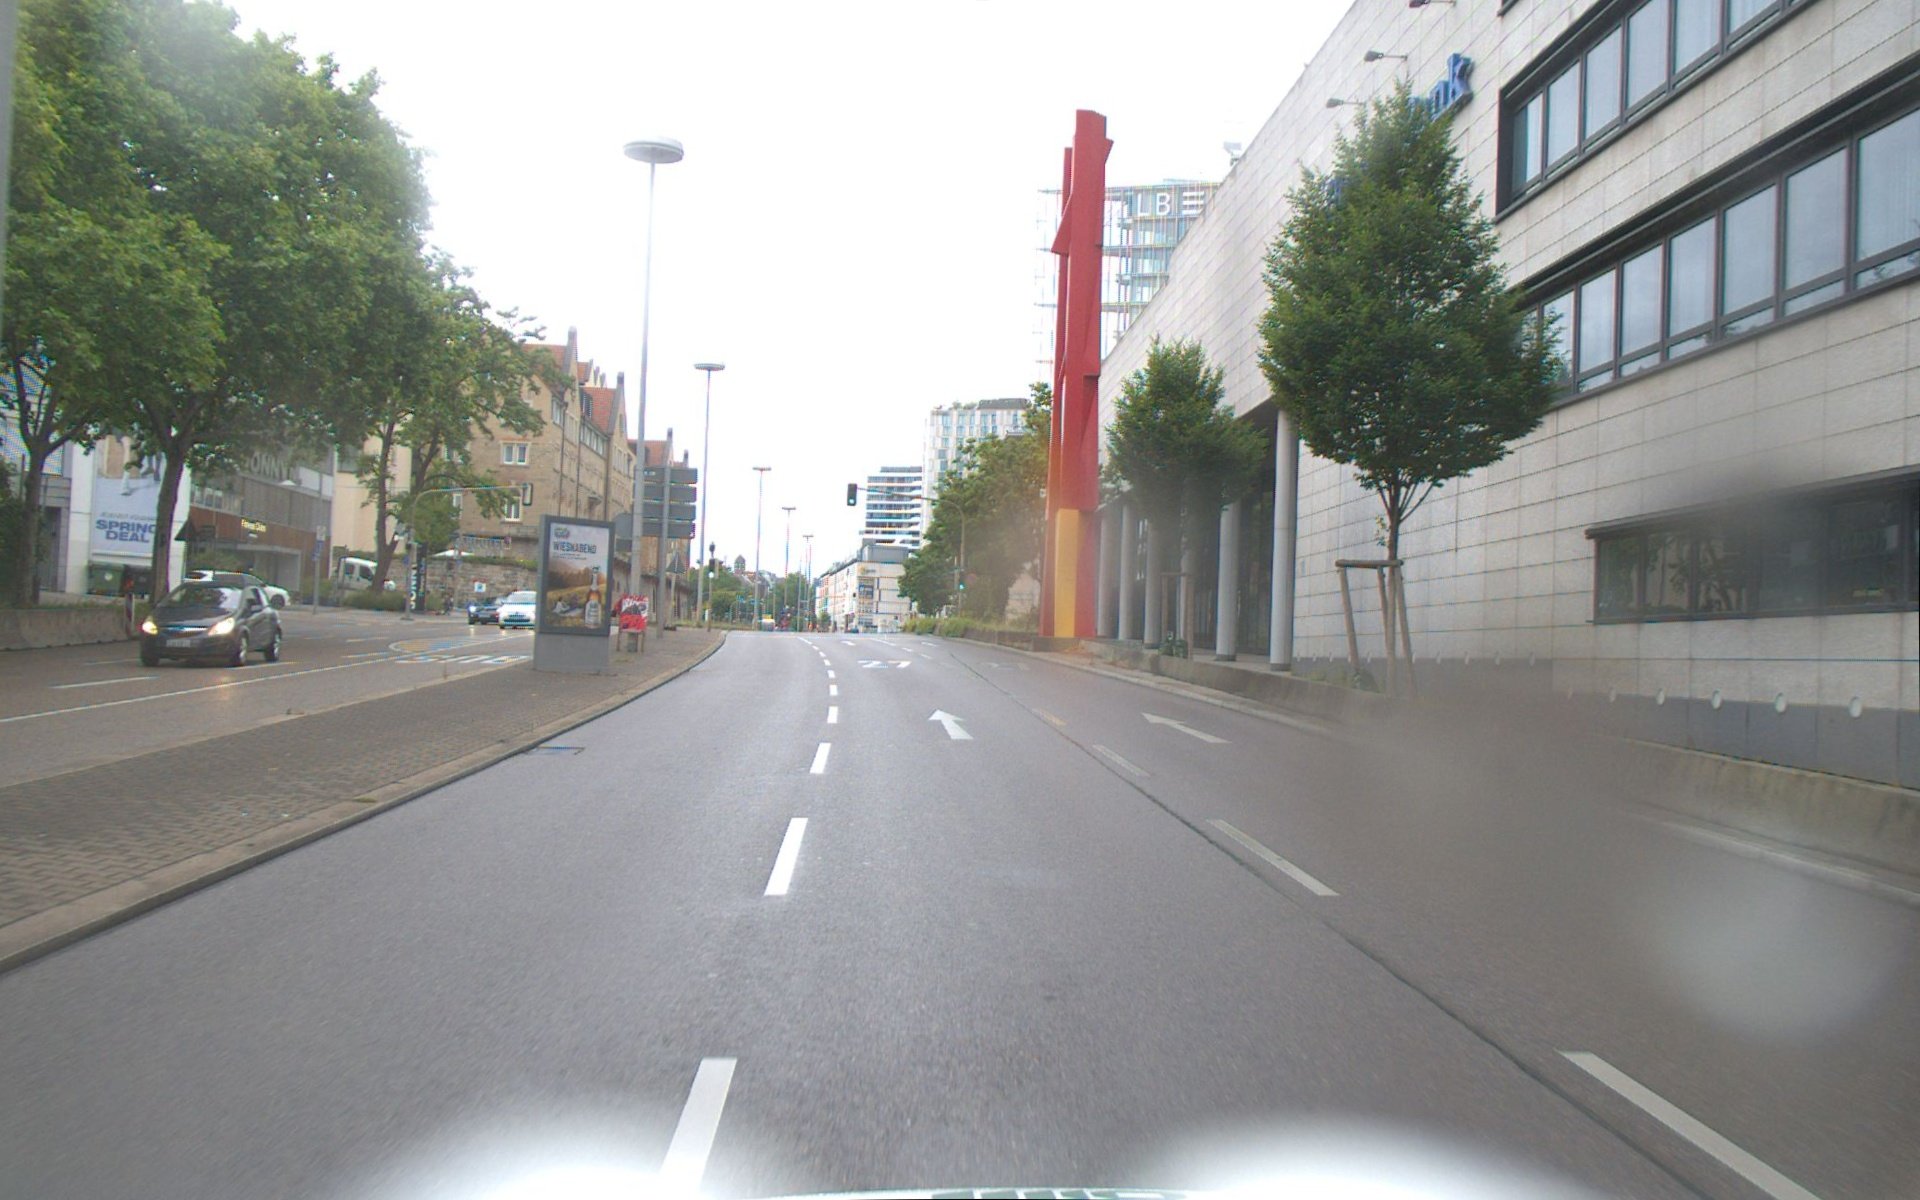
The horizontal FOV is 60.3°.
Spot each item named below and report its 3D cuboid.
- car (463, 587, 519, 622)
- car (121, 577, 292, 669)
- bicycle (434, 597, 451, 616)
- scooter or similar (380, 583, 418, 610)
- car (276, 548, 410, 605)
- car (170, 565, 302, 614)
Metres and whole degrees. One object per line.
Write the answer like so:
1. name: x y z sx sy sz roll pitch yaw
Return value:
1. car: -21.348 0.203 75.396 1.720 1.545 4.165 1 0 -6
2. car: -13.737 0.372 30.412 1.899 1.526 4.162 1 1 -11
3. bicycle: -28.495 0.378 91.065 0.447 1.009 1.757 2 -1 -3
4. scooter or similar: -29.280 -0.177 86.309 1.733 1.269 0.366 6 -3 -33
5. car: -36.676 -1.438 98.401 6.770 2.313 2.514 9 2 -3
6. car: -31.161 -0.431 71.301 1.960 1.682 4.826 3 -2 35
